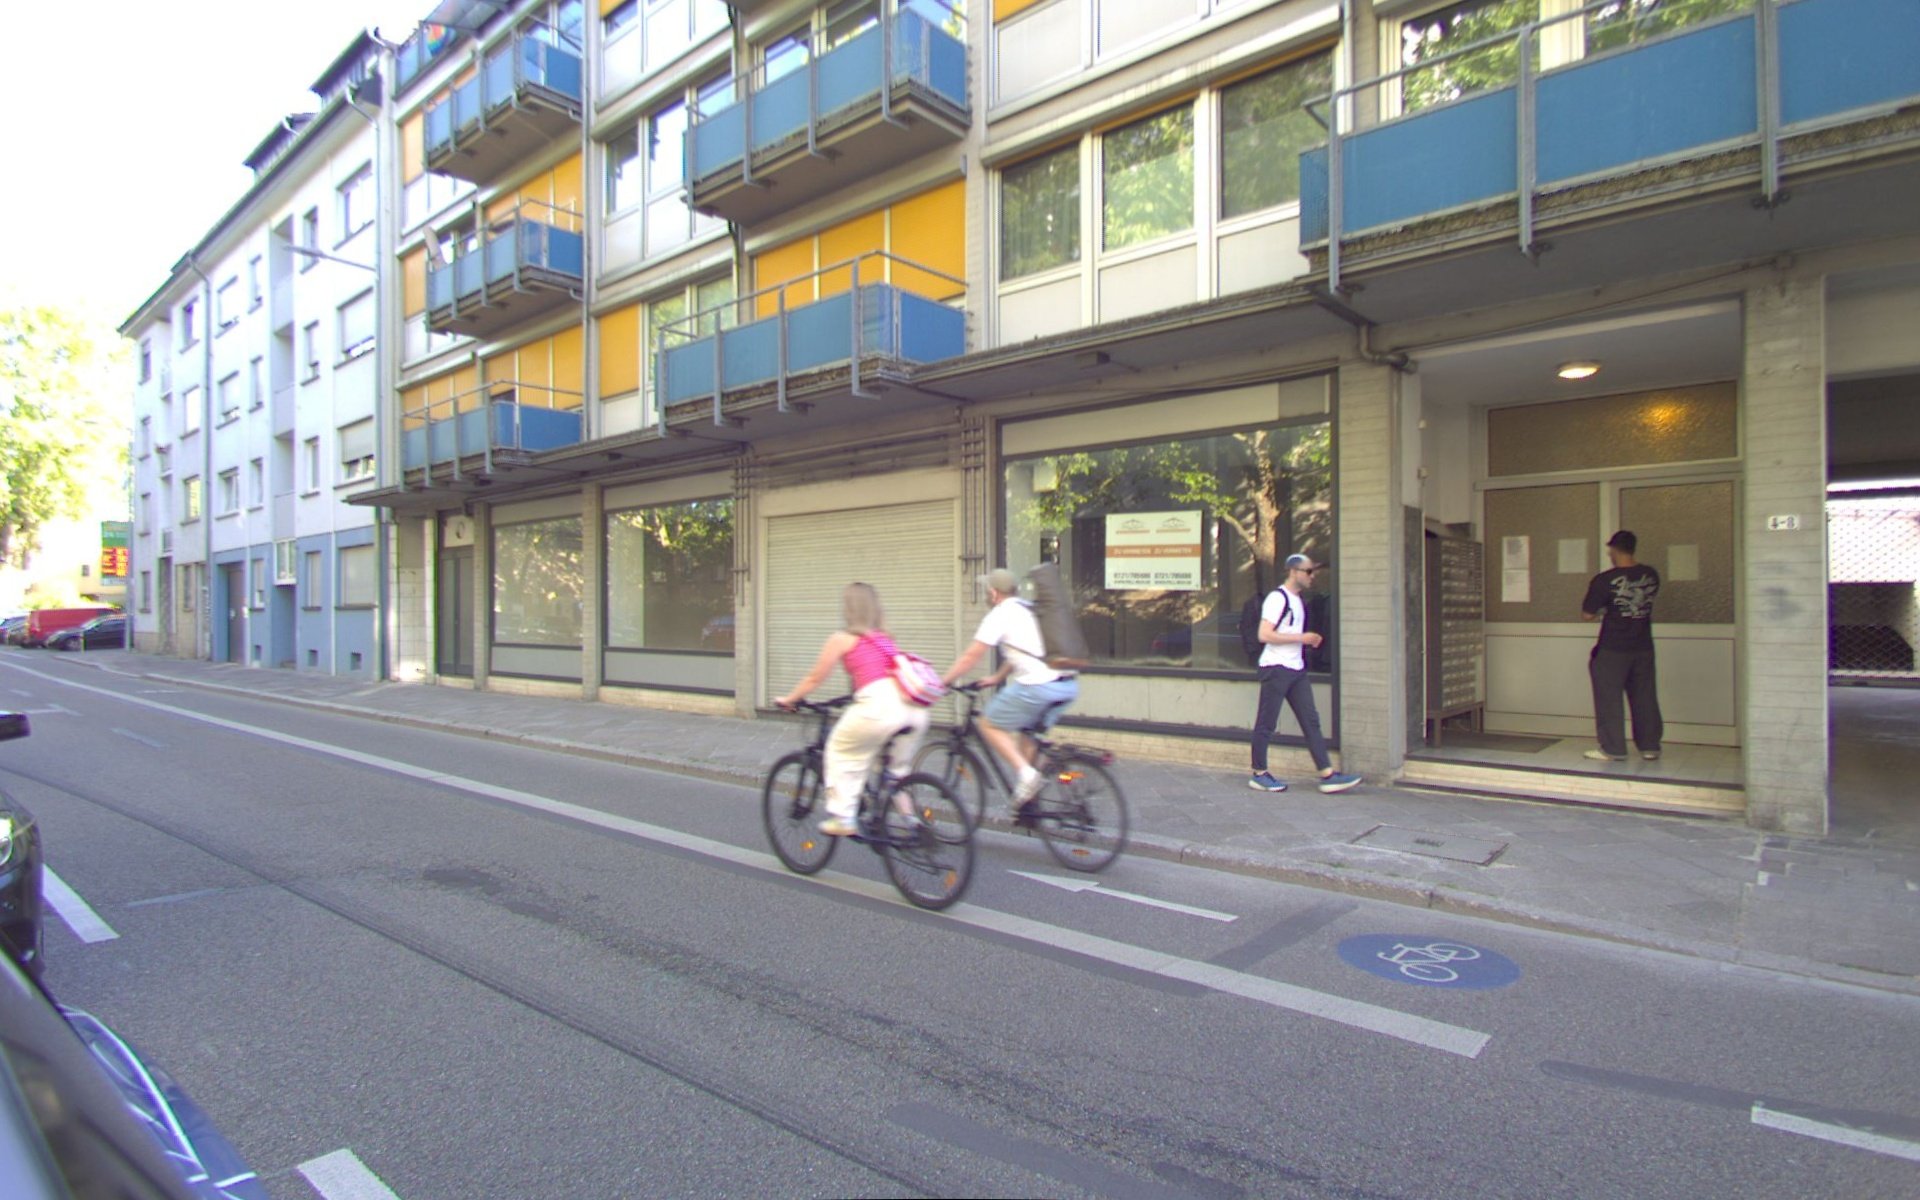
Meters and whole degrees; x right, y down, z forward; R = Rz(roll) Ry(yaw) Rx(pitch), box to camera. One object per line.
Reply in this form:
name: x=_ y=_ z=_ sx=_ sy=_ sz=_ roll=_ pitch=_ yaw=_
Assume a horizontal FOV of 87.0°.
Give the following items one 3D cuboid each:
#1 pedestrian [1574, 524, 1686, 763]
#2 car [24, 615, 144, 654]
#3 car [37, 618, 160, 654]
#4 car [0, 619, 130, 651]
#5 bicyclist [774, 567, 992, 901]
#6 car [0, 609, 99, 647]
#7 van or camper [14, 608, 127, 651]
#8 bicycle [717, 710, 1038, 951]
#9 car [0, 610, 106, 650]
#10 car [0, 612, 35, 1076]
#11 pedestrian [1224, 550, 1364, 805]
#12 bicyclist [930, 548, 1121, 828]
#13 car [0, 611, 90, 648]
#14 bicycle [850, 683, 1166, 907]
pedestrian: x=5.089 y=0.317 z=7.714 sx=0.660 sy=1.726 sz=0.542 roll=-1 pitch=-1 yaw=33
car: x=-41.634 y=1.616 z=48.161 sx=1.999 sy=1.703 sz=4.093 roll=-1 pitch=-1 yaw=41
car: x=-39.753 y=1.628 z=46.776 sx=1.999 sy=1.506 sz=4.093 roll=-1 pitch=-1 yaw=41
car: x=-45.723 y=1.747 z=51.695 sx=1.999 sy=1.506 sz=4.927 roll=-1 pitch=-1 yaw=41
bicyclist: x=-0.423 y=0.647 z=5.416 sx=0.982 sy=1.590 sz=0.677 roll=-2 pitch=-1 yaw=44
car: x=-55.404 y=1.668 z=61.144 sx=1.999 sy=2.210 sz=4.927 roll=-1 pitch=-1 yaw=41
van or camper: x=-43.890 y=1.427 z=50.003 sx=1.999 sy=2.029 sz=3.946 roll=-1 pitch=-1 yaw=40
bicycle: x=-0.513 y=1.150 z=5.520 sx=1.864 sy=0.936 sz=0.685 roll=-1 pitch=-1 yaw=44
car: x=-53.316 y=1.732 z=59.193 sx=1.999 sy=2.210 sz=4.927 roll=-1 pitch=-1 yaw=41
car: x=-5.009 y=0.807 z=3.857 sx=3.861 sy=1.467 sz=1.718 roll=-1 pitch=-1 yaw=40
pedestrian: x=2.535 y=0.552 z=7.671 sx=0.875 sy=1.813 sz=0.595 roll=-2 pitch=0 yaw=29
bicyclist: x=0.410 y=0.498 z=6.250 sx=0.838 sy=1.566 sz=0.834 roll=-1 pitch=-1 yaw=39
car: x=-57.397 y=1.818 z=62.854 sx=1.999 sy=2.210 sz=4.927 roll=-1 pitch=-1 yaw=41
bicycle: x=0.262 y=1.125 z=6.370 sx=1.834 sy=1.087 sz=0.854 roll=-1 pitch=-1 yaw=39
